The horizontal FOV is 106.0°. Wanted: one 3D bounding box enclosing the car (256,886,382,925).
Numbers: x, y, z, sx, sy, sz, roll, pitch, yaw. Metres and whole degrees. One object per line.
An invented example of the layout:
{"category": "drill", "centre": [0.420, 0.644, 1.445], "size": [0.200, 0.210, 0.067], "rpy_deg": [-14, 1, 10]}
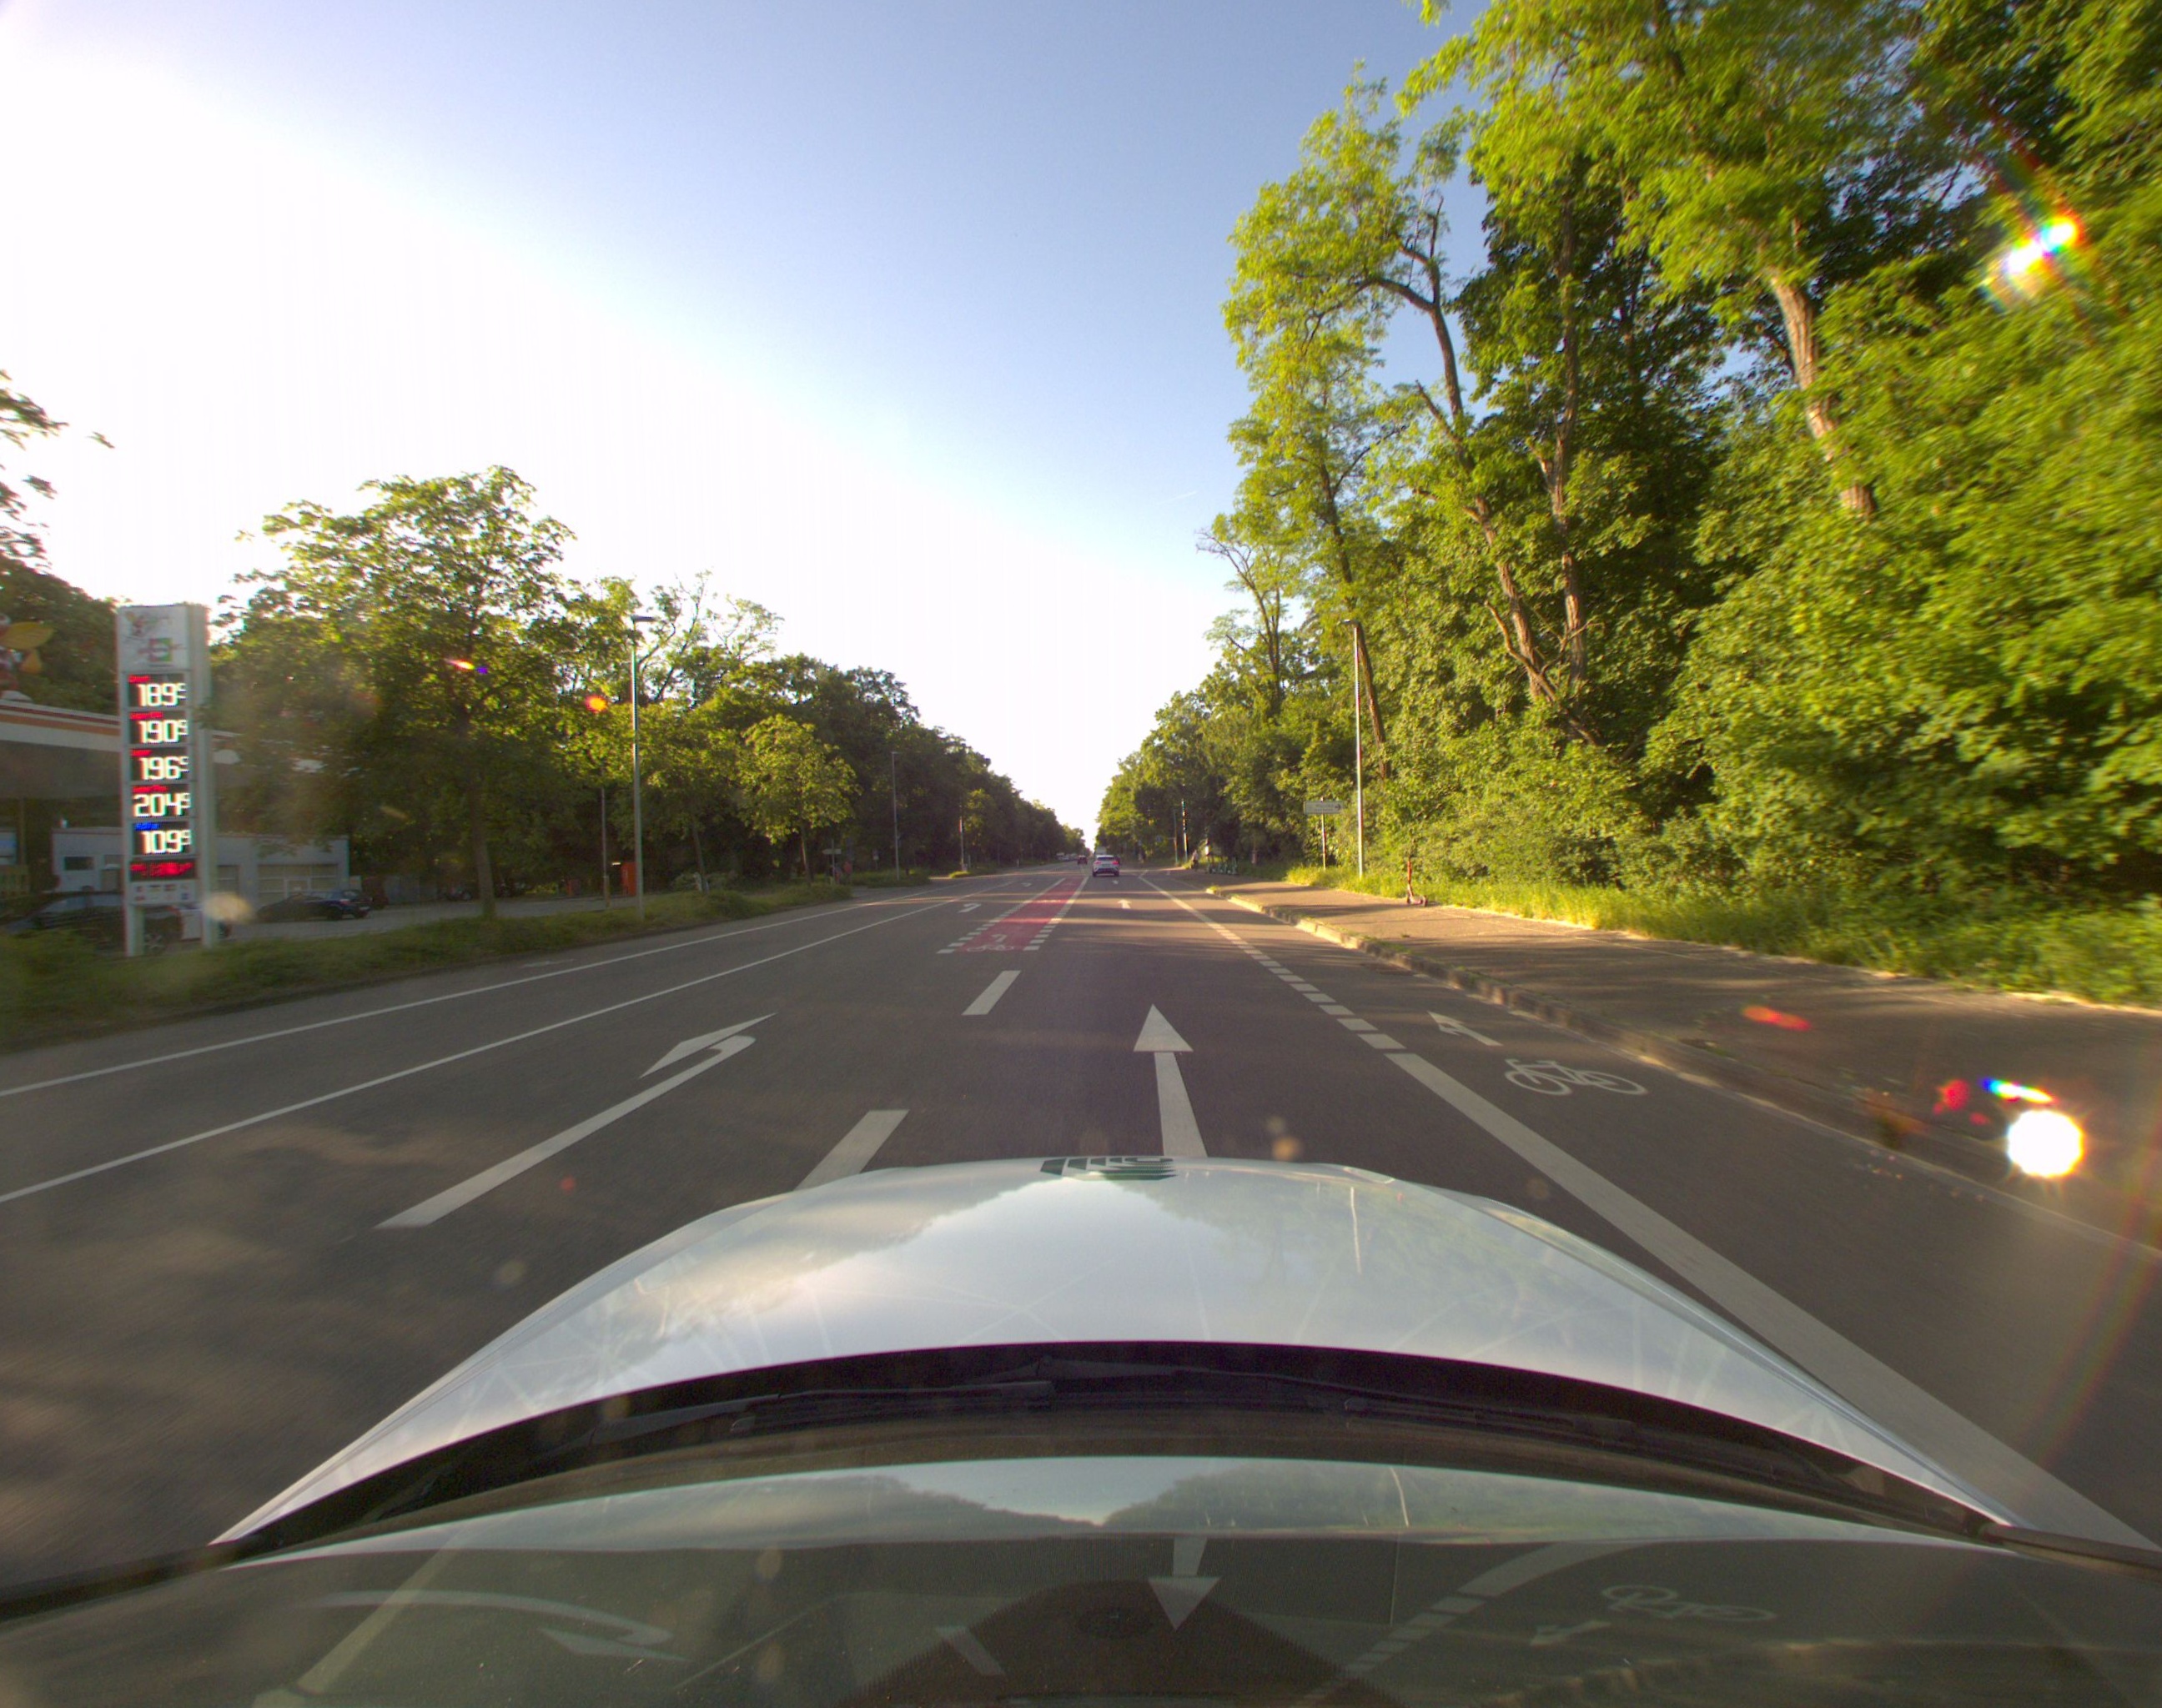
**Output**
{"category": "car", "centre": [-36.137, 2.420, 38.702], "size": [3.979, 1.555, 1.896], "rpy_deg": [-3, 0, -4]}

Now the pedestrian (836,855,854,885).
{"category": "pedestrian", "centre": [-16.537, 1.117, 57.049], "size": [0.710, 2.013, 0.880], "rpy_deg": [-3, 0, 32]}

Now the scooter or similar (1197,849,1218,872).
{"category": "scooter or similar", "centre": [8.131, 0.446, 52.258], "size": [0.683, 1.423, 1.673], "rpy_deg": [-2, 0, -14]}

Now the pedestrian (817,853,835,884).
{"category": "pedestrian", "centre": [-16.750, 0.947, 53.456], "size": [0.710, 2.013, 0.801], "rpy_deg": [-3, 0, 24]}

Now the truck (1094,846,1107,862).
{"category": "truck", "centre": [4.492, -0.059, 186.560], "size": [2.790, 3.570, 8.033], "rpy_deg": [-1, 0, 0]}

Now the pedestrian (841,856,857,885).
{"category": "pedestrian", "centre": [-16.397, 1.173, 57.614], "size": [0.710, 2.013, 0.752], "rpy_deg": [-3, 0, 32]}

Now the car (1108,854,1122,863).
{"category": "car", "centre": [5.247, 0.702, 127.062], "size": [1.987, 1.327, 4.001], "rpy_deg": [-3, 0, 1]}

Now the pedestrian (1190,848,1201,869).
{"category": "pedestrian", "centre": [8.852, 0.343, 62.942], "size": [0.751, 1.563, 0.804], "rpy_deg": [-3, 0, 6]}

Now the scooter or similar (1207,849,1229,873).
{"category": "scooter or similar", "centre": [8.490, 0.428, 50.571], "size": [0.683, 1.423, 1.673], "rpy_deg": [-2, 0, -14]}

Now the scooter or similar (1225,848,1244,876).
{"category": "scooter or similar", "centre": [8.378, 0.430, 44.547], "size": [0.679, 1.423, 1.682], "rpy_deg": [-2, 0, 1]}

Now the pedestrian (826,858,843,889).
{"category": "pedestrian", "centre": [-16.402, 1.314, 54.198], "size": [0.710, 2.013, 0.801], "rpy_deg": [-3, -1, 24]}

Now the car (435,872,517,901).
{"category": "car", "centre": [-43.767, 2.329, 59.026], "size": [1.974, 1.820, 4.298], "rpy_deg": [-3, 0, 31]}

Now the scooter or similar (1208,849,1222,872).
{"category": "scooter or similar", "centre": [8.809, 0.411, 53.558], "size": [0.679, 1.423, 1.682], "rpy_deg": [-2, 0, 2]}

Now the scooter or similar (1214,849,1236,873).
{"category": "scooter or similar", "centre": [8.552, 0.421, 48.497], "size": [0.682, 1.423, 1.674], "rpy_deg": [-2, 0, -12]}

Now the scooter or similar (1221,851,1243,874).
{"category": "scooter or similar", "centre": [8.607, 0.481, 46.397], "size": [0.467, 1.306, 1.471], "rpy_deg": [-2, 0, -20]}

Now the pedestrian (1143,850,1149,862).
{"category": "pedestrian", "centre": [9.398, 0.312, 117.084], "size": [0.741, 1.599, 0.798], "rpy_deg": [-3, 0, 1]}

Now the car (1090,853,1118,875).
{"category": "car", "centre": [1.594, 0.704, 57.444], "size": [1.757, 1.459, 3.814], "rpy_deg": [-1, 0, -2]}

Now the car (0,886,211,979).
{"category": "car", "centre": [-22.414, 1.677, 17.959], "size": [1.706, 1.691, 4.449], "rpy_deg": [-3, 0, -2]}

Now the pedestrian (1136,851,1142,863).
{"category": "pedestrian", "centre": [8.384, 0.385, 117.110], "size": [0.696, 1.653, 0.876], "rpy_deg": [-3, 0, 1]}

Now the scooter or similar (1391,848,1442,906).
{"category": "scooter or similar", "centre": [7.712, 0.507, 18.778], "size": [0.531, 1.250, 1.542], "rpy_deg": [-3, 0, 2]}

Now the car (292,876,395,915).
{"category": "car", "centre": [-43.296, 2.421, 47.894], "size": [3.980, 1.980, 1.997], "rpy_deg": [-2, 0, -5]}

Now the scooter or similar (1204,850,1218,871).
{"category": "scooter or similar", "centre": [9.044, 0.448, 56.607], "size": [0.679, 1.423, 1.682], "rpy_deg": [-2, 0, 2]}

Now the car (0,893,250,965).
{"category": "car", "centre": [-26.388, 1.986, 22.665], "size": [1.705, 1.498, 4.578], "rpy_deg": [-3, 0, 1]}

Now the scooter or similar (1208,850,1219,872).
{"category": "scooter or similar", "centre": [8.955, 0.443, 55.069], "size": [0.678, 1.423, 1.249], "rpy_deg": [-3, 0, 10]}

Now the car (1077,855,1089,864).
{"category": "car", "centre": [0.324, 1.002, 143.713], "size": [1.986, 1.519, 4.002], "rpy_deg": [-3, 0, 2]}

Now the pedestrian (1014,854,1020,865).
{"category": "pedestrian", "centre": [-11.902, 1.025, 150.839], "size": [0.859, 2.013, 1.271], "rpy_deg": [-3, 0, 5]}
